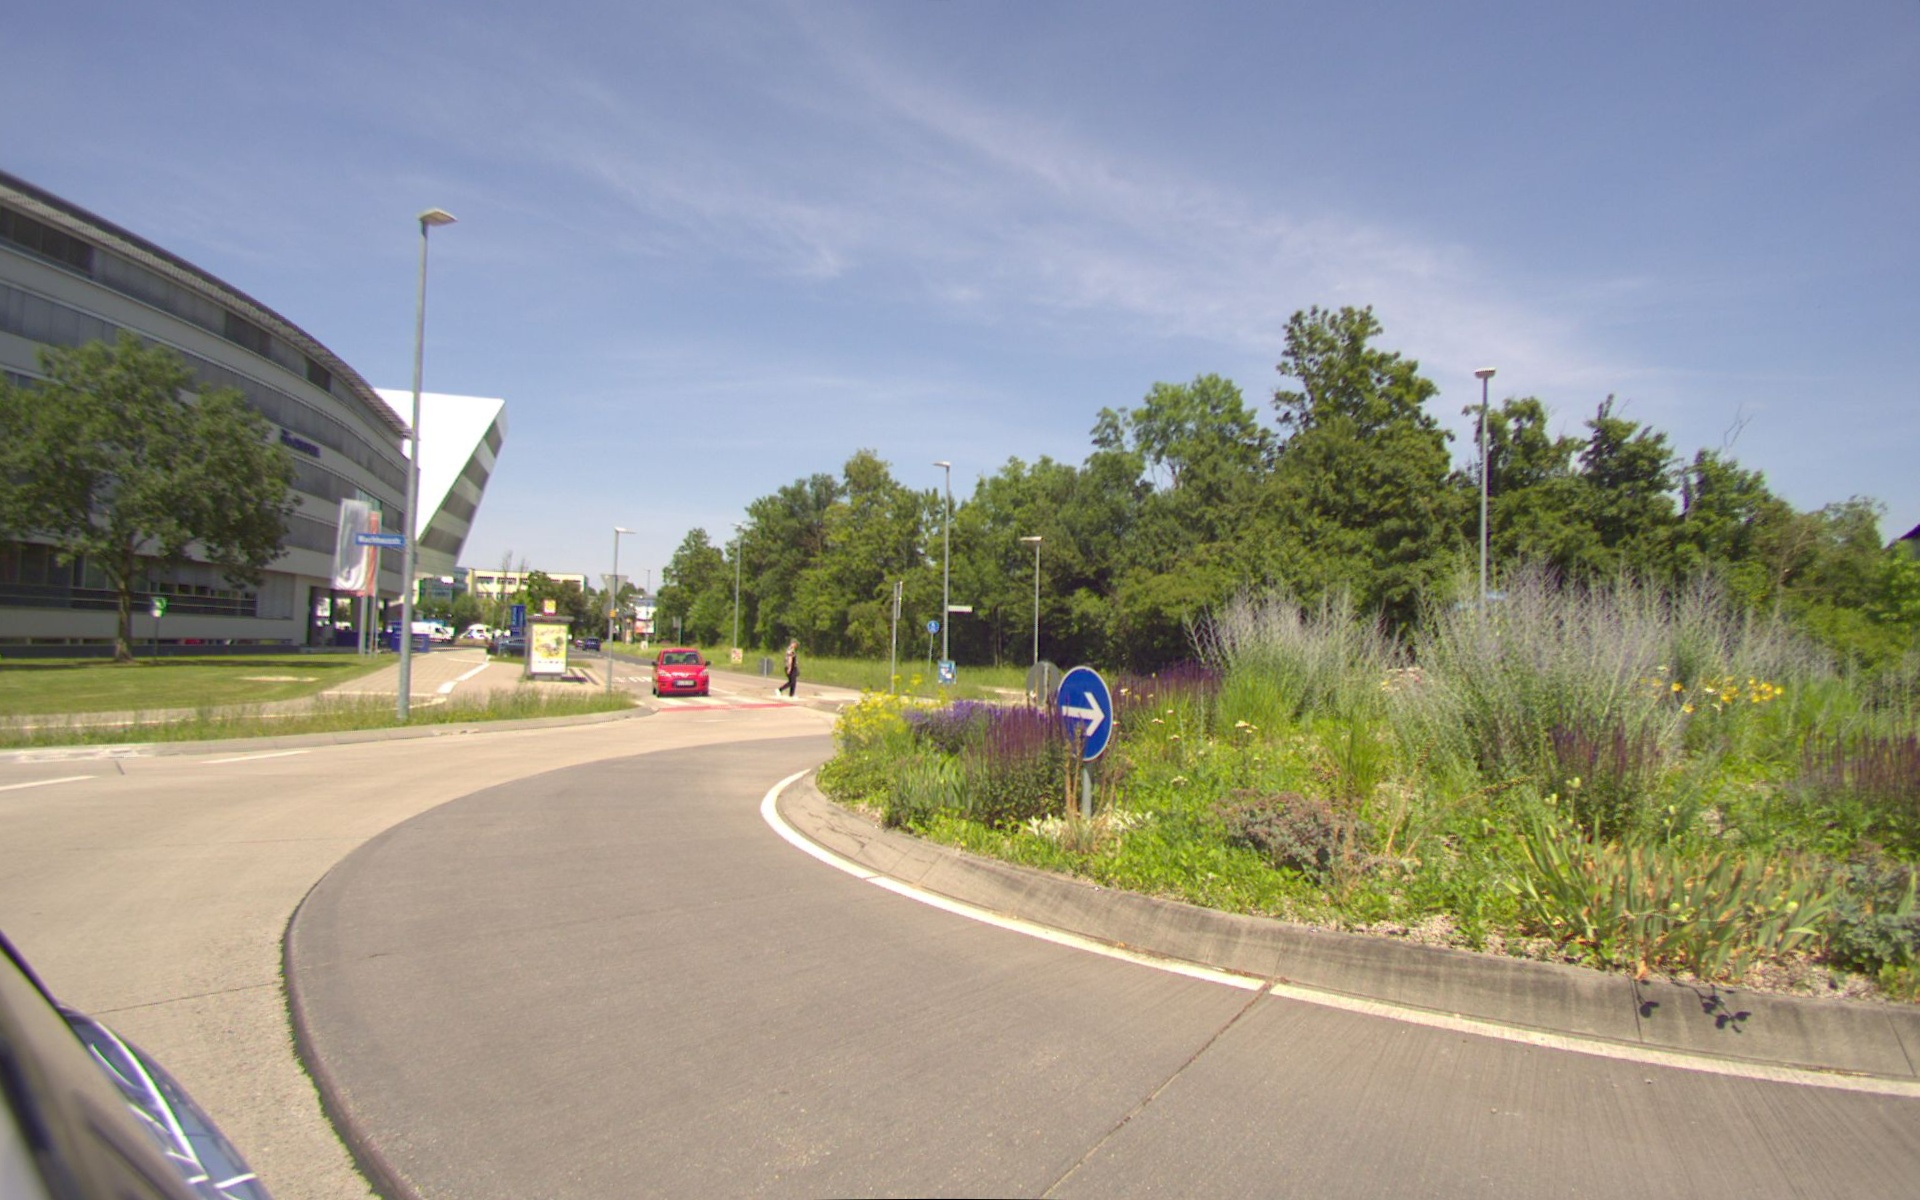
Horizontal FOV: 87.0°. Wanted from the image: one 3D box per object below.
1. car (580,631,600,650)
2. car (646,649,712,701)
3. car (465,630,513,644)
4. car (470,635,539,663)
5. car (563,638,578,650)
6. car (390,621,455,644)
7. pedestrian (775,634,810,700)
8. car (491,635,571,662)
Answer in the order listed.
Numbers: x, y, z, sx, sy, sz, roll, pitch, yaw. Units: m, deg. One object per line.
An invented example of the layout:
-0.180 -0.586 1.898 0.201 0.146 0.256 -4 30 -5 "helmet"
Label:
-42.608 4.644 116.481 1.965 2.029 4.013 1 -2 -24 "car"
-9.070 2.362 32.530 1.634 1.515 3.368 1 -2 -22 "car"
-72.124 5.663 155.101 6.388 2.166 2.171 1 -2 -17 "car"
-29.724 3.224 66.165 3.930 1.667 1.845 3 -3 -22 "car"
-55.935 6.327 145.382 1.751 1.608 4.013 1 -2 -25 "car"
-67.390 4.082 127.020 6.853 2.683 2.261 1 -2 -15 "car"
-4.852 1.935 29.308 0.698 1.836 0.829 5 -4 -23 "pedestrian"
-27.121 3.066 64.033 4.503 1.443 1.833 5 -4 -25 "car"
